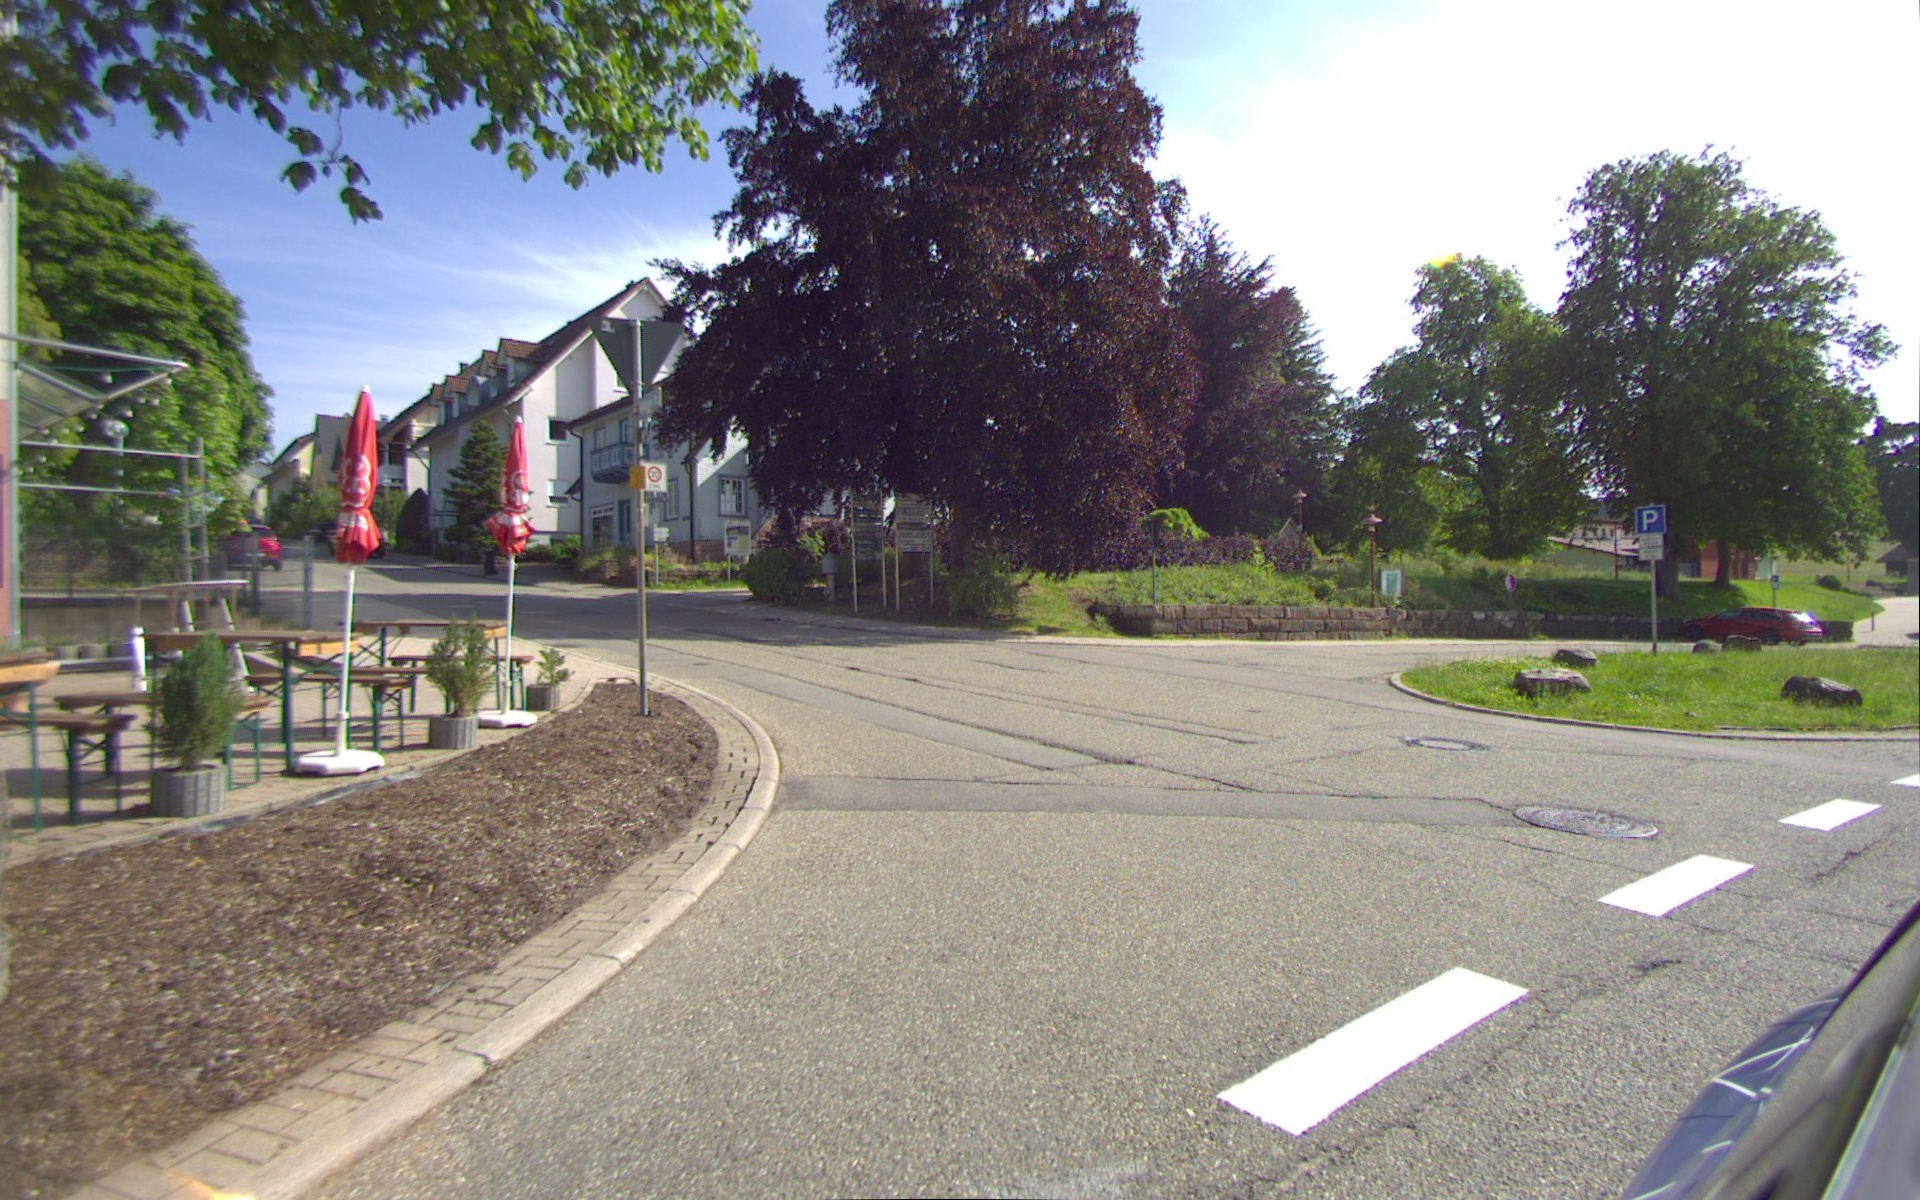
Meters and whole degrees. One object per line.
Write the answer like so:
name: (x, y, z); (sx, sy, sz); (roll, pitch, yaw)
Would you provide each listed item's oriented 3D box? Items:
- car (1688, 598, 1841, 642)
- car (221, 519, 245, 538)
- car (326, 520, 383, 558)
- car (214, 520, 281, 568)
car: (30.419, 0.726, 38.426); (1.666, 1.446, 4.276); (1, 1, -19)
car: (-60.162, -5.901, 83.733); (1.346, 1.467, 2.775); (2, 1, -41)
car: (-30.623, -3.109, 51.146); (1.963, 1.760, 3.999); (1, 3, -38)
car: (-24.070, -1.894, 34.154); (1.708, 1.481, 3.271); (1, 3, -38)
